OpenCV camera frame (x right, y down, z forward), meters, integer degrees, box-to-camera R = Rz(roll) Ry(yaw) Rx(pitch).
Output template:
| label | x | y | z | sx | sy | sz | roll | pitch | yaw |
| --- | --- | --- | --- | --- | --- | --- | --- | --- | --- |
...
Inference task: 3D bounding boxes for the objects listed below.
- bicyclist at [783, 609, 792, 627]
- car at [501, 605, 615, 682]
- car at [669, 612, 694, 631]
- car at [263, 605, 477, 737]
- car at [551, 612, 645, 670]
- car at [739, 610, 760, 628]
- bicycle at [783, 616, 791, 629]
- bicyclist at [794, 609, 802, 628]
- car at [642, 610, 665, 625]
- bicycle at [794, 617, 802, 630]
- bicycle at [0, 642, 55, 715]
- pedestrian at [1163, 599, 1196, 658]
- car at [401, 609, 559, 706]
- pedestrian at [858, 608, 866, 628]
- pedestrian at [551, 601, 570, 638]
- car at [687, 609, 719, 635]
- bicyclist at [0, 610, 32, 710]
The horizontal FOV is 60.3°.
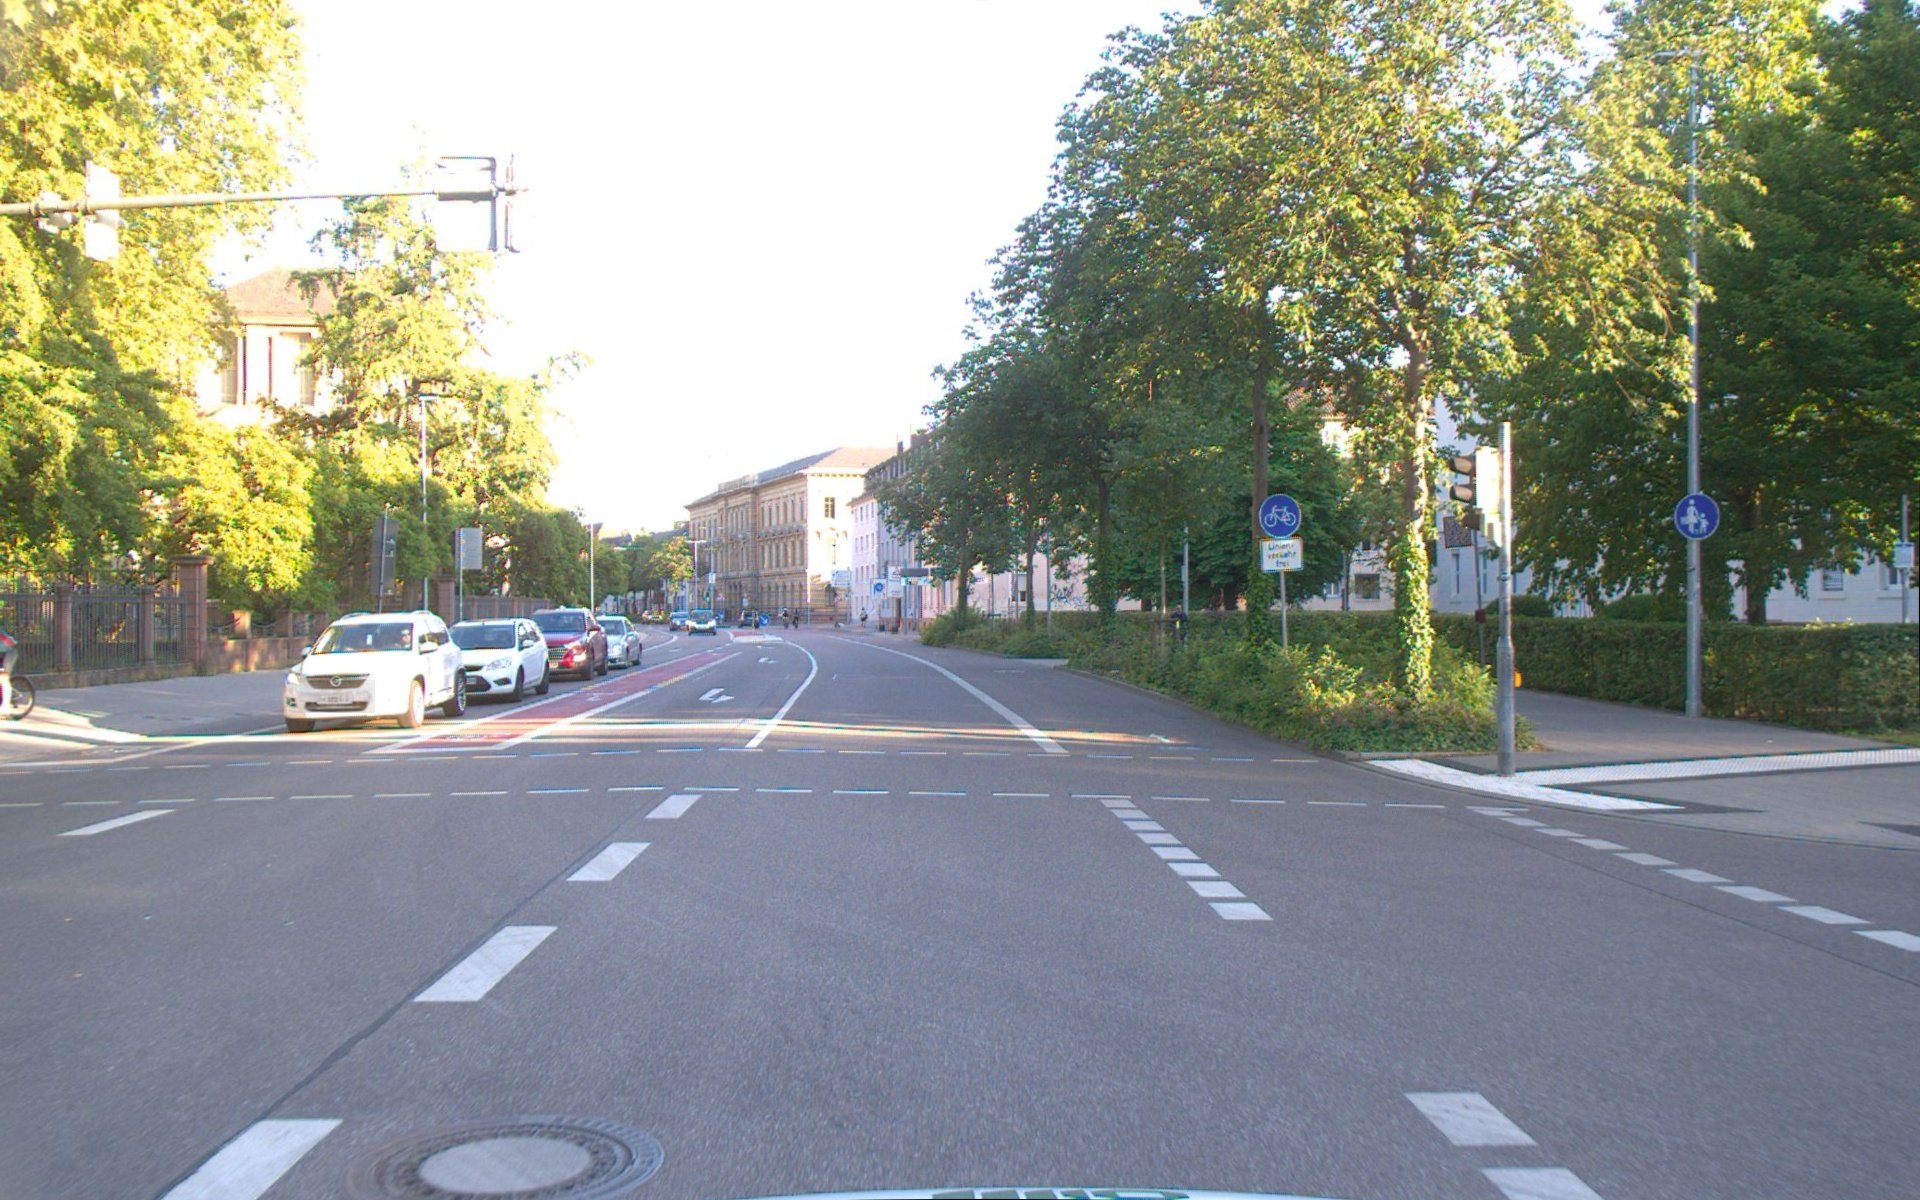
| label | x | y | z | sx | sy | sz | roll | pitch | yaw |
| --- | --- | --- | --- | --- | --- | --- | --- | --- | --- |
| bicyclist | -14.264 | 1.492 | 136.684 | 0.639 | 1.471 | 0.878 | 2 | -1 | -6 |
| car | -9.533 | 0.996 | 39.537 | 1.879 | 1.653 | 4.634 | -2 | 0 | -5 |
| car | -22.579 | 1.719 | 134.103 | 1.803 | 1.464 | 3.988 | -2 | 0 | -11 |
| car | -8.727 | 0.979 | 24.884 | 1.879 | 1.725 | 4.422 | -2 | 0 | -5 |
| car | -10.057 | 1.109 | 46.309 | 1.879 | 1.442 | 4.765 | -2 | 0 | -5 |
| car | -18.356 | 1.690 | 144.345 | 1.832 | 1.536 | 3.994 | 1 | -1 | -7 |
| bicycle | -14.285 | 1.869 | 136.710 | 0.639 | 1.033 | 2.195 | 2 | -1 | -5 |
| bicyclist | -13.370 | 1.532 | 136.652 | 0.639 | 1.501 | 0.940 | 2 | -1 | -5 |
| car | -34.341 | 1.946 | 185.261 | 1.965 | 1.613 | 3.975 | 0 | -1 | -21 |
| bicycle | -13.388 | 1.949 | 136.745 | 0.639 | 1.033 | 2.195 | 2 | -1 | -5 |
| bicycle | -14.392 | 1.158 | 24.434 | 0.837 | 1.033 | 2.197 | 0 | 0 | 0 |
| pedestrian | 6.630 | 0.867 | 50.007 | 0.756 | 1.769 | 0.805 | 0 | 0 | -10 |
| car | -8.907 | 1.014 | 31.105 | 1.879 | 1.611 | 4.669 | -2 | 0 | -5 |
| pedestrian | -8.590 | 1.589 | 144.838 | 0.747 | 1.786 | 0.844 | 0 | -1 | -3 |
| pedestrian | -17.787 | 0.878 | 73.681 | 0.667 | 1.651 | 0.688 | 0 | 0 | -1 |
| car | -16.588 | 1.398 | 106.672 | 1.816 | 1.553 | 3.988 | -2 | 0 | -12 |
| bicyclist | -14.410 | 0.879 | 24.471 | 0.838 | 1.456 | 0.943 | 0 | 0 | 0 |
